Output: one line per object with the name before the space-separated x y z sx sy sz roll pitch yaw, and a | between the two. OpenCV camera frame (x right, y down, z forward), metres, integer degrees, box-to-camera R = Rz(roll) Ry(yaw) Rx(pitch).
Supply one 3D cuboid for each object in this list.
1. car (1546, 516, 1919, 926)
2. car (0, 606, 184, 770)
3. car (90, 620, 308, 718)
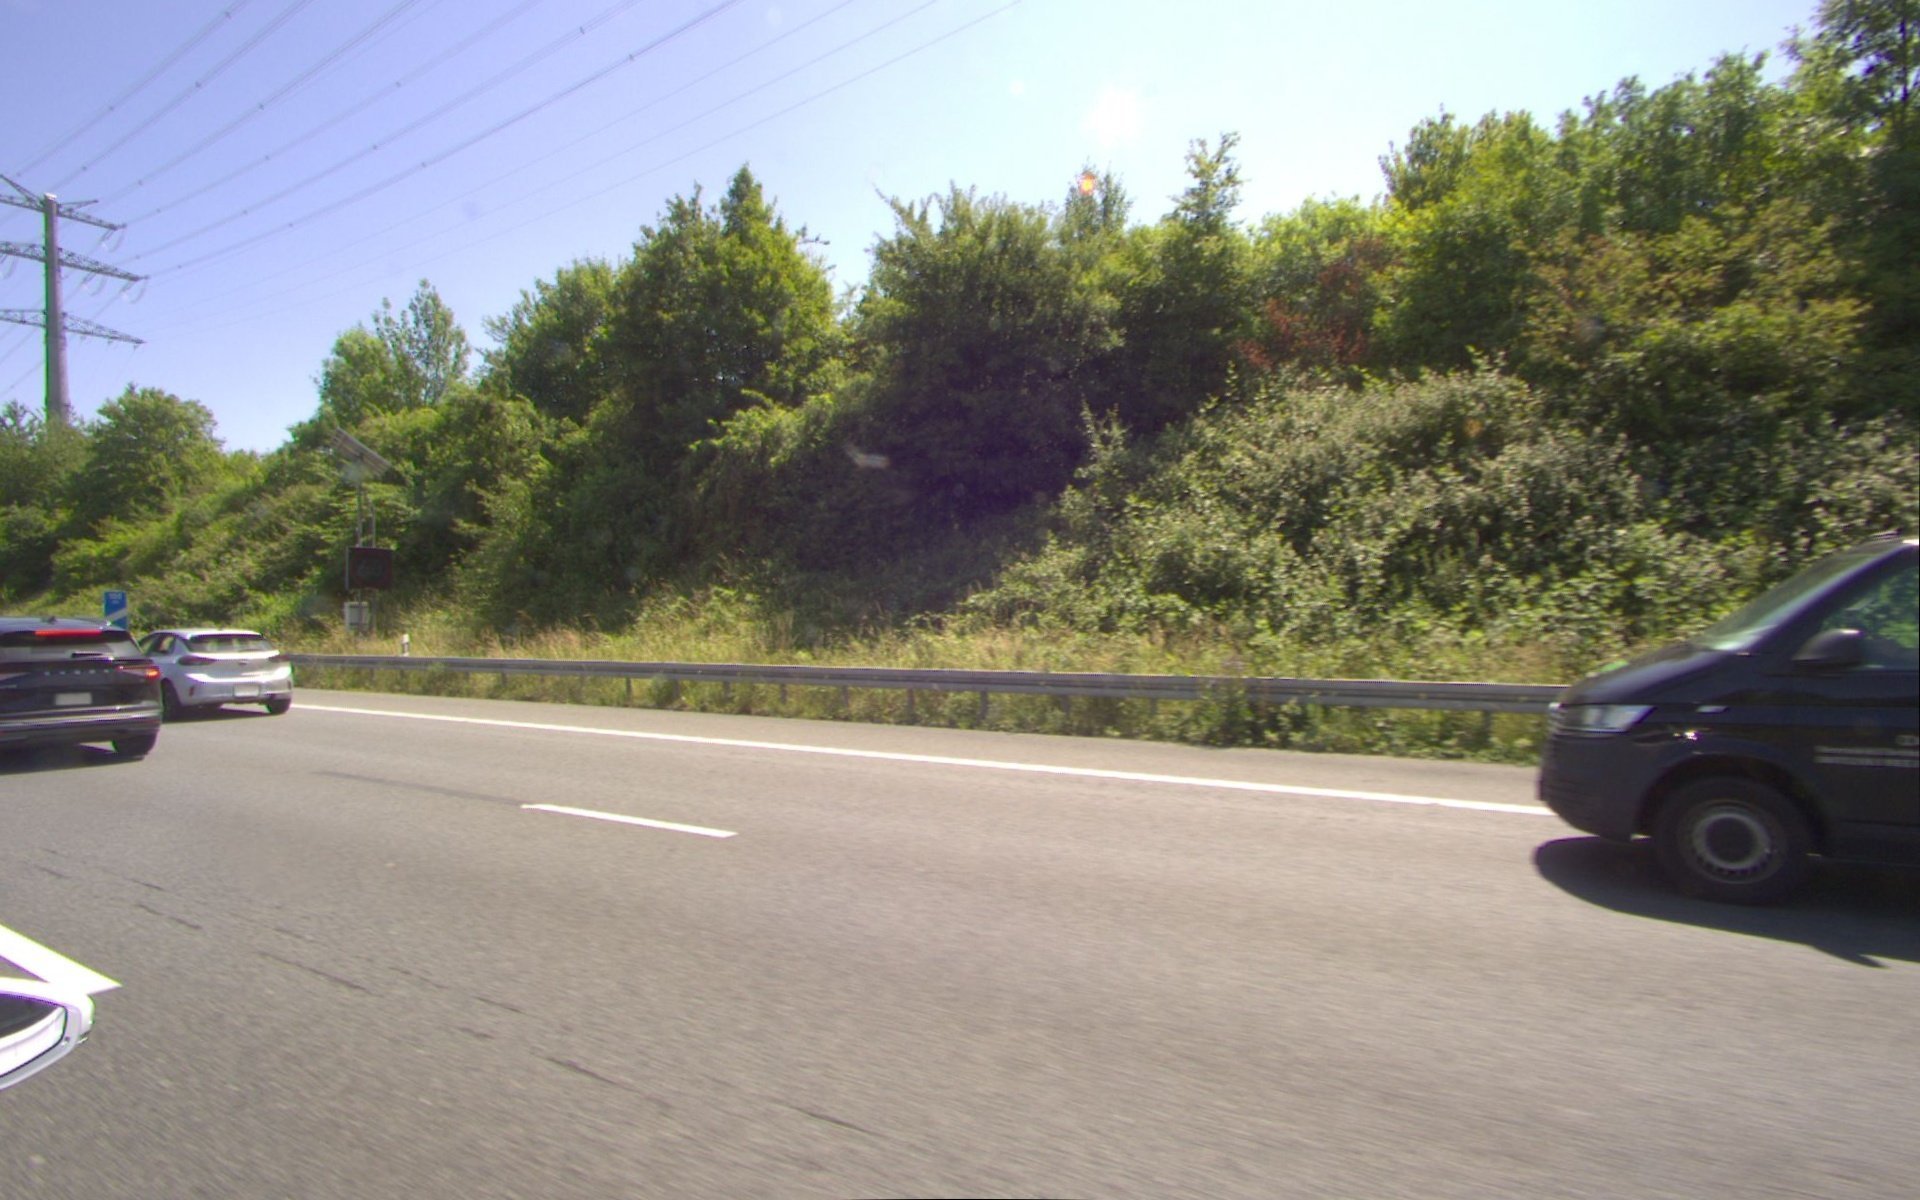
car | 5.660 0.585 5.066 4.630 1.928 1.781 -1 -2 32
car | -11.122 0.913 11.723 4.367 1.635 1.825 0 -1 32
car | -13.095 1.104 17.186 3.957 1.489 1.738 -1 -1 33
